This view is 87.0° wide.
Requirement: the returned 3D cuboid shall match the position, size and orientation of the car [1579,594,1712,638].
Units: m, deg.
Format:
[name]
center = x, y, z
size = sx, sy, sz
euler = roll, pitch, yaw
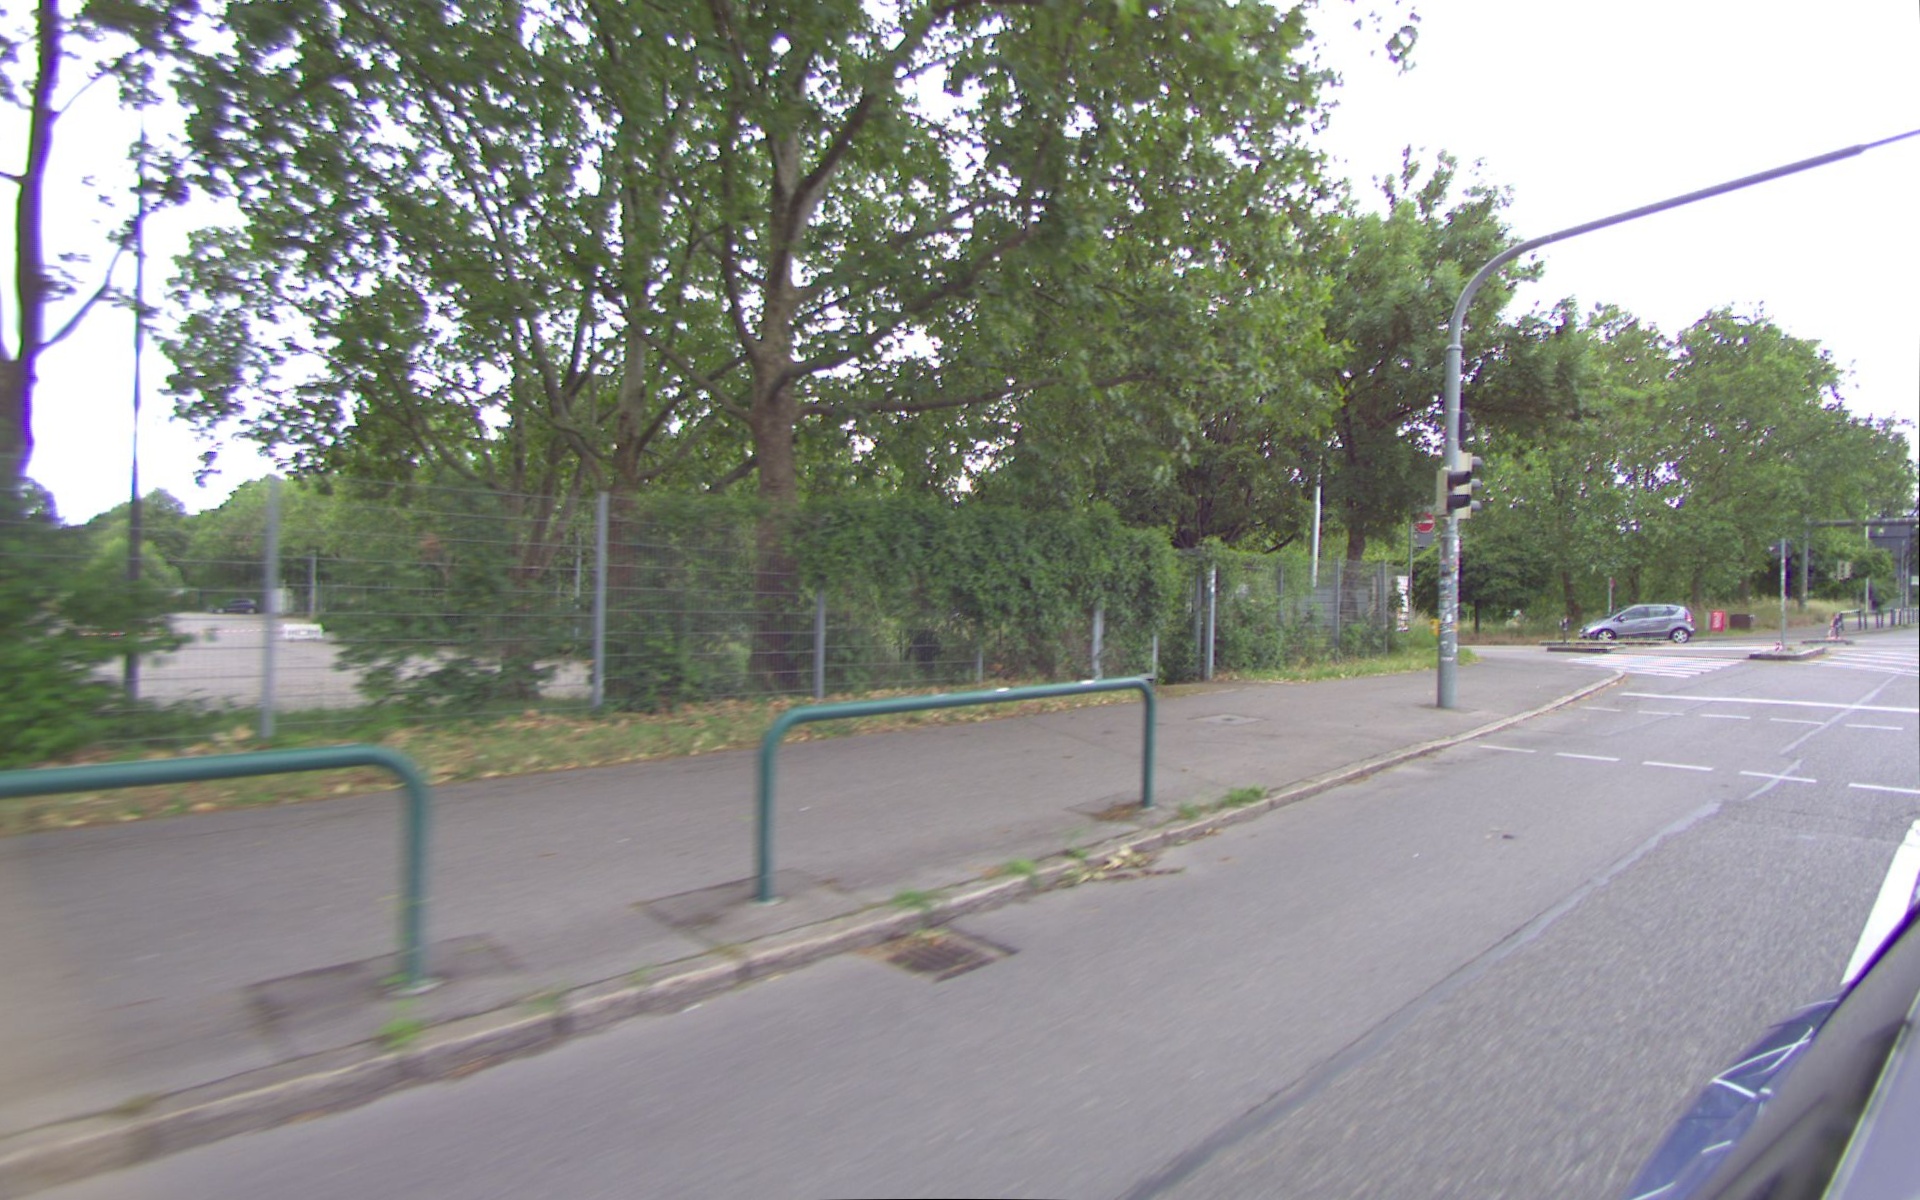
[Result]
[car]
center = 27.069, 0.609, 40.113
size = 3.979, 1.637, 1.822
euler = 1, -1, 17
